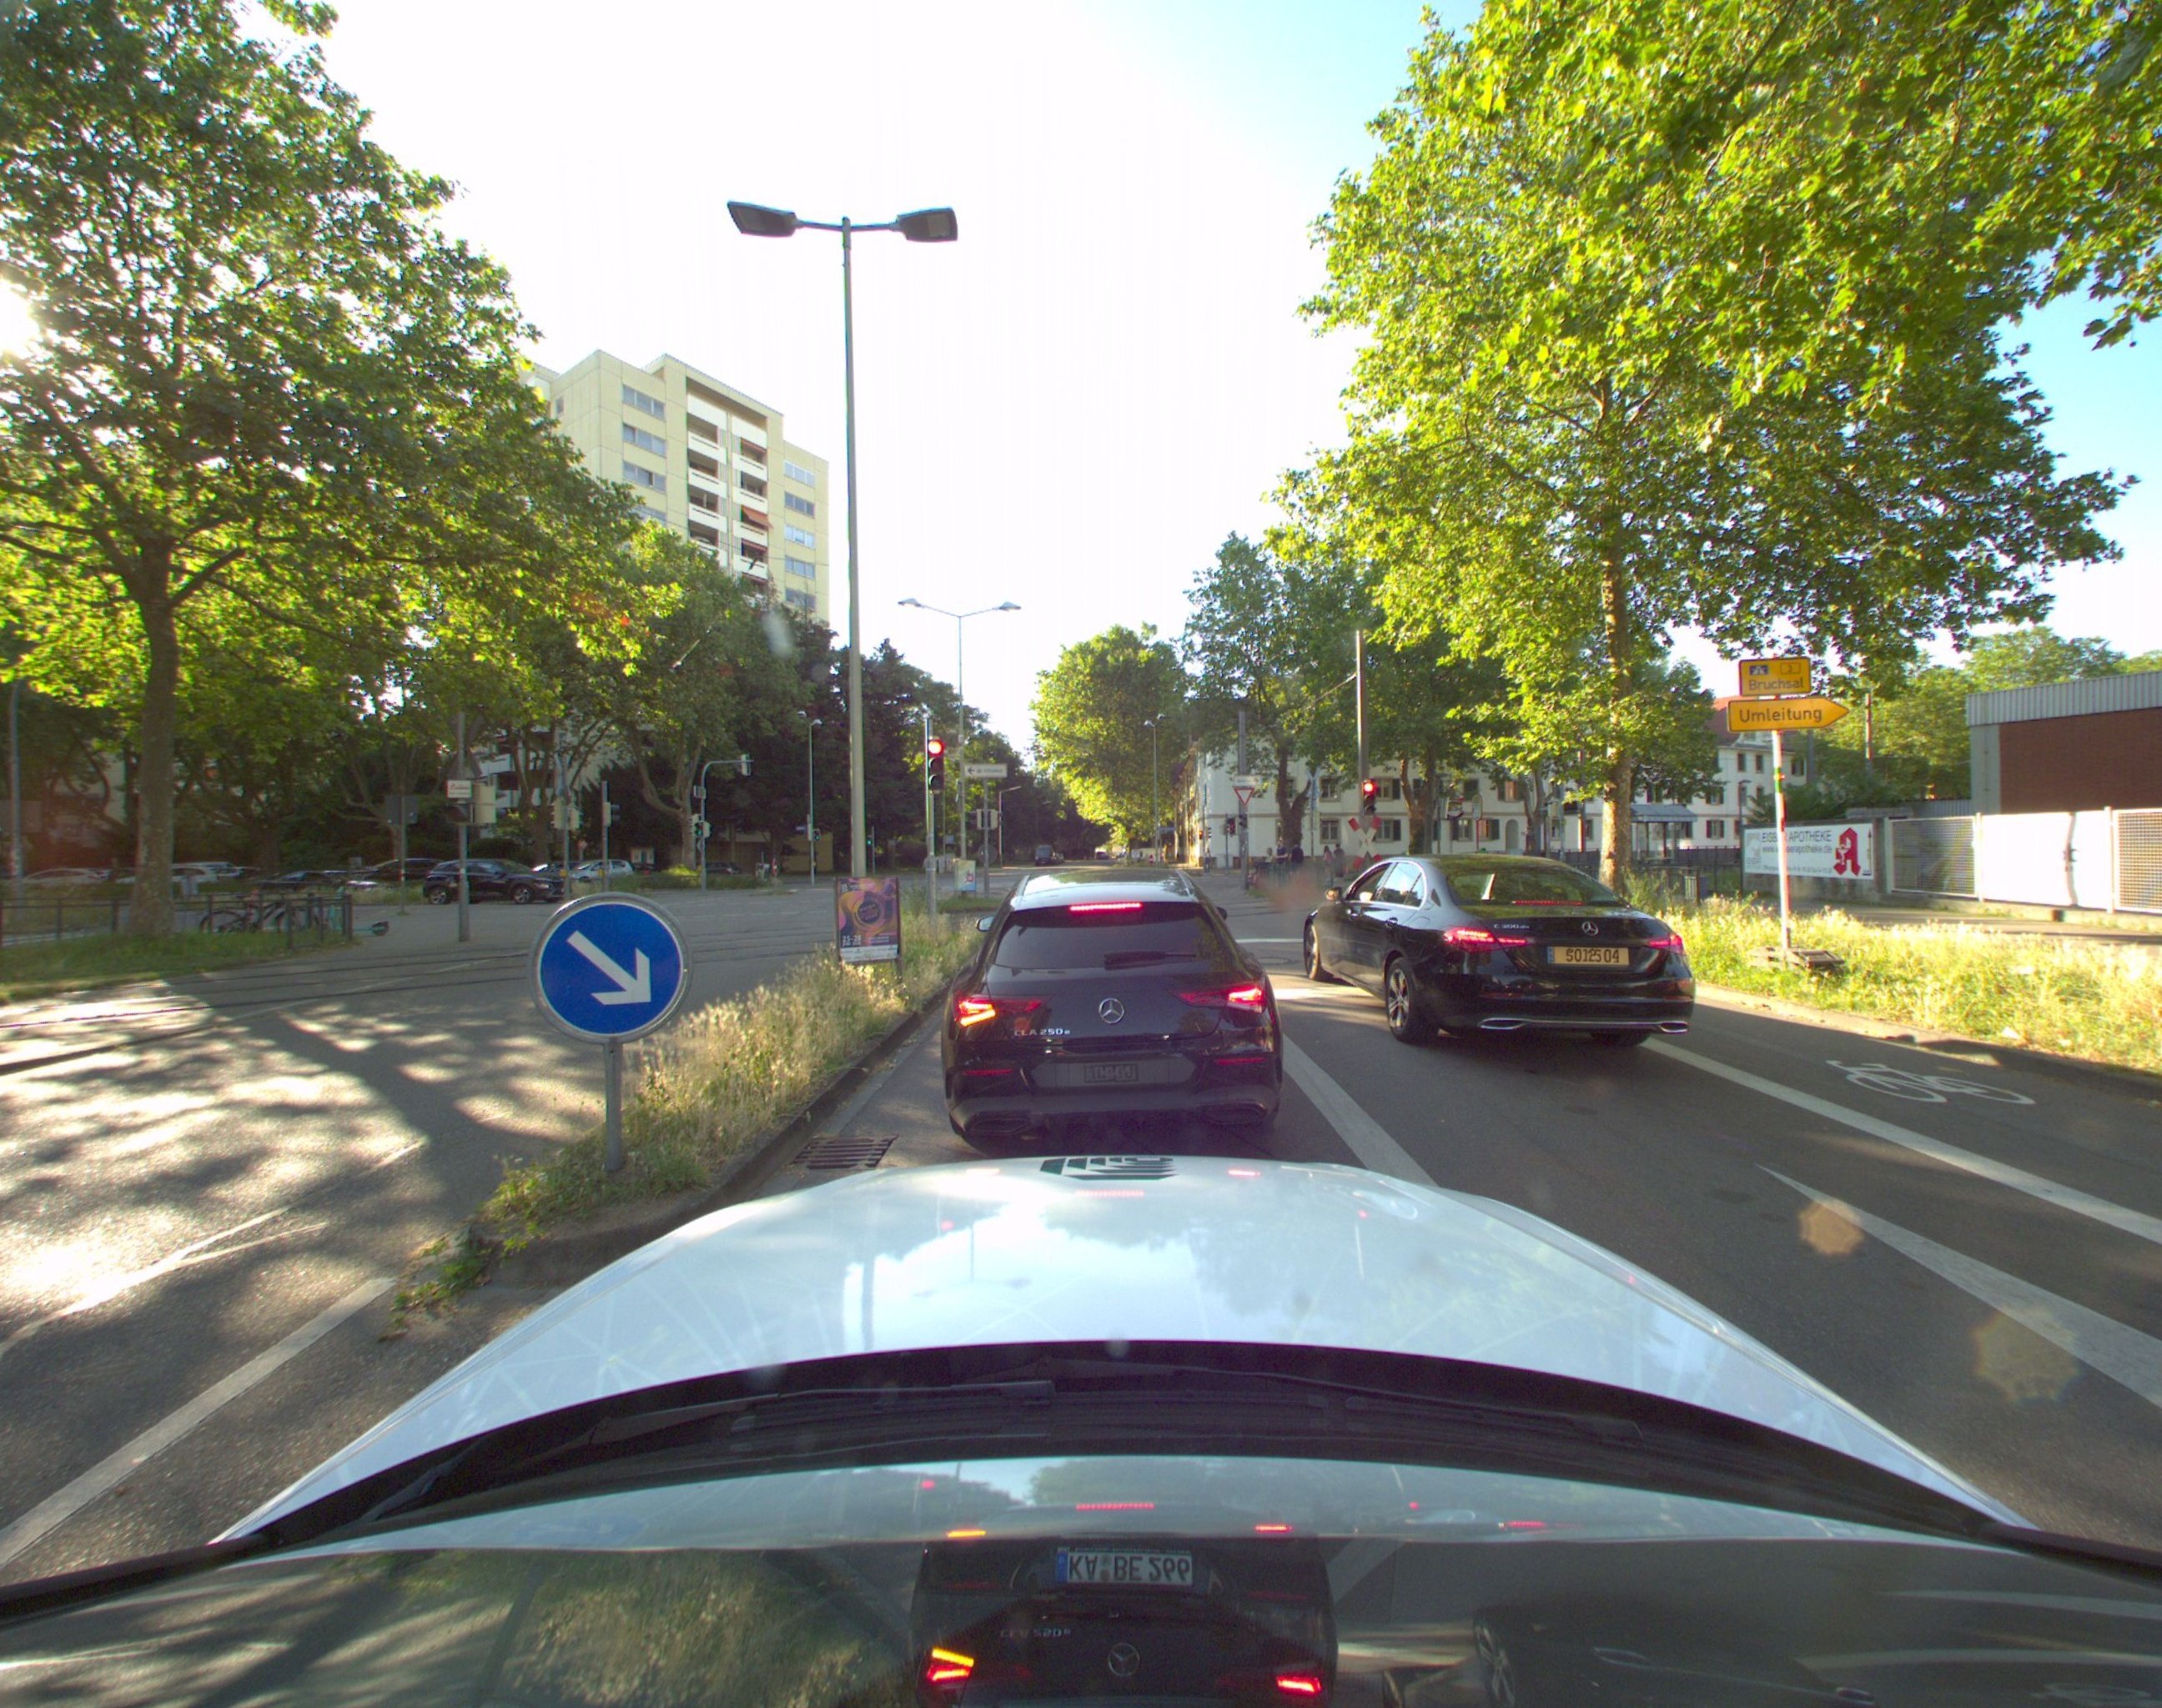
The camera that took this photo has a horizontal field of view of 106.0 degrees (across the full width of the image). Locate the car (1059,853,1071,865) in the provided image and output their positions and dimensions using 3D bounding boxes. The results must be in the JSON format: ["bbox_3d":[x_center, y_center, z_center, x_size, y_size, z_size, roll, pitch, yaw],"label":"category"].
[{"bbox_3d":[-2.469,0.826,126.676,1.727,1.765,3.972,0,-1,2],"label":"car"}]

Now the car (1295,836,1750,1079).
[{"bbox_3d":[3.365,0.613,7.355,1.882,1.490,4.384,0,2,2],"label":"car"}]

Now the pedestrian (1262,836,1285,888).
[{"bbox_3d":[7.287,0.299,30.859,0.681,1.918,0.707,0,-1,-2],"label":"pedestrian"}]

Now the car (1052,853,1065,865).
[{"bbox_3d":[-3.246,0.761,117.854,1.727,1.765,4.087,0,-1,2],"label":"car"}]

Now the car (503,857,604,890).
[{"bbox_3d":[-27.220,0.974,42.162,1.716,1.596,4.025,-1,-1,32],"label":"car"}]

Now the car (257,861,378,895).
[{"bbox_3d":[-37.414,1.145,40.000,1.716,1.596,4.025,-1,-1,32],"label":"car"}]

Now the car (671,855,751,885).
[{"bbox_3d":[-22.639,0.958,49.923,3.963,1.774,2.005,-1,-1,9],"label":"car"}]

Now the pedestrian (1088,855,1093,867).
[{"bbox_3d":[1.541,1.050,130.200,0.704,1.918,0.837,0,-1,-8],"label":"pedestrian"}]

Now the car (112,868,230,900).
[{"bbox_3d":[-49.160,1.586,44.073,1.716,1.596,4.025,-1,-1,32],"label":"car"}]

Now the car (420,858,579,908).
[{"bbox_3d":[-19.414,0.954,27.335,3.981,1.596,1.735,0,-1,-5],"label":"car"}]

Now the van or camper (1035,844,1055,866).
[{"bbox_3d":[-4.416,0.128,100.051,1.986,2.541,4.653,0,-1,2],"label":"van or camper"}]

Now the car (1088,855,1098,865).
[{"bbox_3d":[2.107,1.006,145.736,1.727,1.765,4.020,0,-1,2],"label":"car"}]

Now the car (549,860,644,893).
[{"bbox_3d":[-24.923,1.107,42.027,1.716,1.596,3.831,-1,-1,32],"label":"car"}]

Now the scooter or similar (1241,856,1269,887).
[{"bbox_3d":[6.481,0.646,30.308,0.826,1.104,0.808,0,-1,-4],"label":"scooter or similar"}]

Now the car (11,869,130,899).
[{"bbox_3d":[-57.101,1.664,46.076,1.716,1.596,4.025,-1,-1,32],"label":"car"}]

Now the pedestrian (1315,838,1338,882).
[{"bbox_3d":[10.722,0.260,35.558,0.703,1.918,0.838,0,-1,-2],"label":"pedestrian"}]

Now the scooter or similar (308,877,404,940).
[{"bbox_3d":[-15.094,1.107,16.983,0.408,1.239,1.450,-1,-1,40],"label":"scooter or similar"}]

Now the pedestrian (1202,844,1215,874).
[{"bbox_3d":[8.437,0.333,54.029,0.703,1.918,0.838,0,-1,-2],"label":"pedestrian"}]

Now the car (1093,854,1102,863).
[{"bbox_3d":[3.250,0.899,158.624,1.727,1.765,4.020,0,-1,2],"label":"car"}]

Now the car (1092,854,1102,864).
[{"bbox_3d":[2.919,0.978,150.541,1.727,1.765,4.020,0,-1,2],"label":"car"}]

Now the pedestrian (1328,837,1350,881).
[{"bbox_3d":[11.572,0.231,36.539,0.703,1.918,0.838,0,-1,-2],"label":"pedestrian"}]

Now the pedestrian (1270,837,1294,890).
[{"bbox_3d":[7.412,0.344,30.082,0.680,1.918,0.707,0,-1,0],"label":"pedestrian"}]

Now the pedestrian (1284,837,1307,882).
[{"bbox_3d":[9.279,0.252,35.256,0.703,1.918,0.838,0,-1,-2],"label":"pedestrian"}]

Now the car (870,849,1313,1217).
[{"bbox_3d":[0.153,0.751,5.472,1.881,1.450,4.004,0,2,3],"label":"car"}]

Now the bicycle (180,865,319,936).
[{"bbox_3d":[-15.954,0.870,15.671,1.845,1.307,0.380,0,-1,-26],"label":"bicycle"}]
